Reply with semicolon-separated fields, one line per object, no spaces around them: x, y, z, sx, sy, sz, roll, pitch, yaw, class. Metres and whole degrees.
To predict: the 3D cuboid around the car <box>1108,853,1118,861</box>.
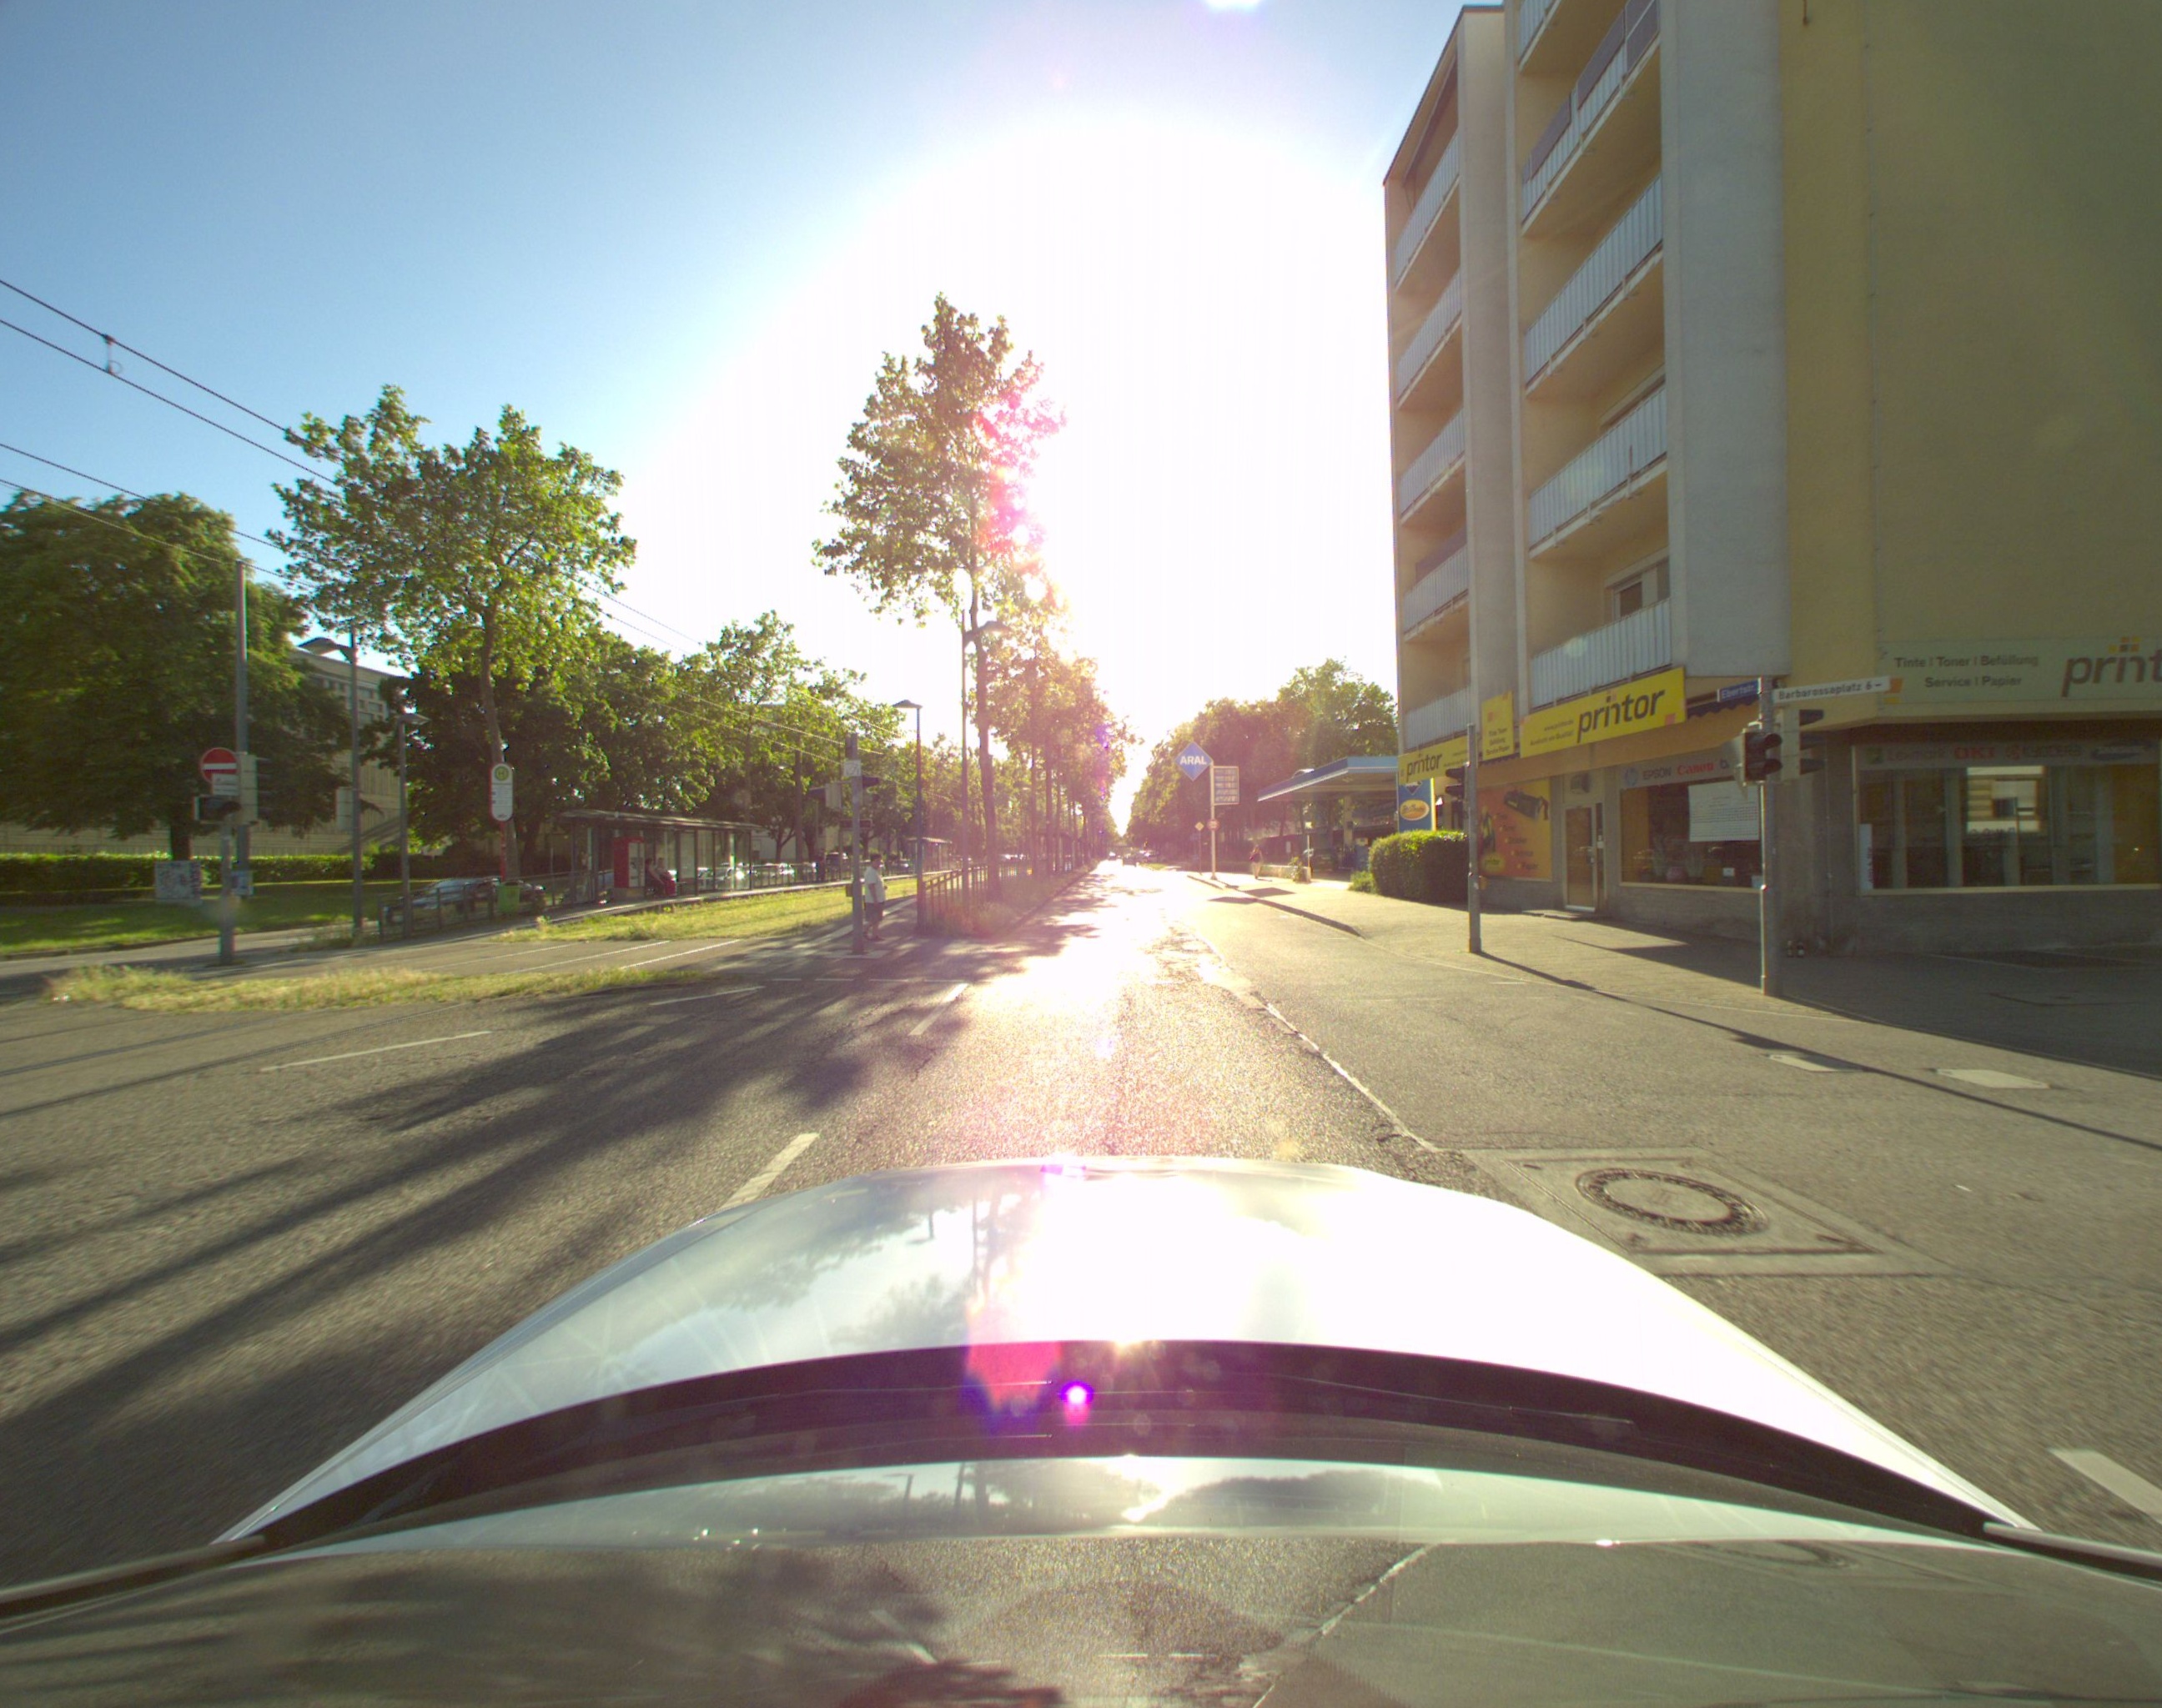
6.047;0.581;153.780;1.842;1.535;3.869;-1;0;3;car

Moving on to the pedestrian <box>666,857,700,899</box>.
-13.084;0.787;26.787;0.691;1.341;0.735;-1;0;4;pedestrian

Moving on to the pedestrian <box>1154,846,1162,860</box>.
9.890;-0.167;104.488;0.715;1.706;0.647;-2;-1;-32;pedestrian

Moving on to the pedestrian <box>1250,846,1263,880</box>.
8.871;0.451;41.153;0.601;1.701;0.553;-1;0;6;pedestrian

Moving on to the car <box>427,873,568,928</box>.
-14.718;1.128;20.720;1.319;1.204;2.968;-2;0;3;car

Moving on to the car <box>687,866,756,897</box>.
-18.473;1.392;42.000;1.587;1.444;3.933;-1;0;3;car

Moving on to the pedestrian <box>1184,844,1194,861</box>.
12.470;-0.188;94.142;0.926;1.885;0.797;-1;0;-12;pedestrian

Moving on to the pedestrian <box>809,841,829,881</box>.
-12.604;0.337;39.211;0.717;1.867;0.637;-1;0;3;pedestrian

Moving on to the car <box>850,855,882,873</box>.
-20.113;0.898;76.339;1.706;1.546;3.939;-1;0;5;car

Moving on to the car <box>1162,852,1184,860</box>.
16.524;0.405;146.169;4.207;1.412;1.700;-1;0;-41;car

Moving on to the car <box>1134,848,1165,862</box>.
10.662;0.146;126.385;4.693;1.853;1.810;-2;0;-38;car

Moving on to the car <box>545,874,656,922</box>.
-16.090;1.431;27.480;1.600;1.427;3.537;-1;0;0;car

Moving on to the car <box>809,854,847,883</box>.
-20.684;1.160;66.764;1.707;2.262;3.935;-1;0;2;car

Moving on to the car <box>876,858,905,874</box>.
-20.031;1.267;85.752;1.706;1.546;4.204;-1;0;4;car

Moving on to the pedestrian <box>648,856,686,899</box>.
-13.157;0.752;25.889;0.726;1.341;0.777;-1;0;16;pedestrian

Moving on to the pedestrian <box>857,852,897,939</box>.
-3.704;0.727;14.750;0.660;1.529;0.536;-1;-1;-17;pedestrian

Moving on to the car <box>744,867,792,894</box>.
-20.776;1.750;54.204;1.588;1.636;3.932;-1;0;2;car

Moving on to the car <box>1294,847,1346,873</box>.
14.315;0.344;49.006;1.717;1.463;4.000;-1;0;-4;car

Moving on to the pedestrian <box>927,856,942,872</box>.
-11.978;0.804;66.664;0.829;1.261;0.805;0;0;31;pedestrian

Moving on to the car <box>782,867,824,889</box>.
-20.559;1.775;60.368;1.588;1.488;4.021;-1;0;2;car

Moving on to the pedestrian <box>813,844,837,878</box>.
-12.596;0.339;40.052;0.879;1.689;0.755;-1;0;3;pedestrian

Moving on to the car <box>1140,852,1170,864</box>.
10.581;0.523;116.081;4.010;1.469;1.744;-4;0;-29;car

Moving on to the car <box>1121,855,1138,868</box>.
5.826;0.875;97.231;1.915;1.411;4.002;0;0;2;car
